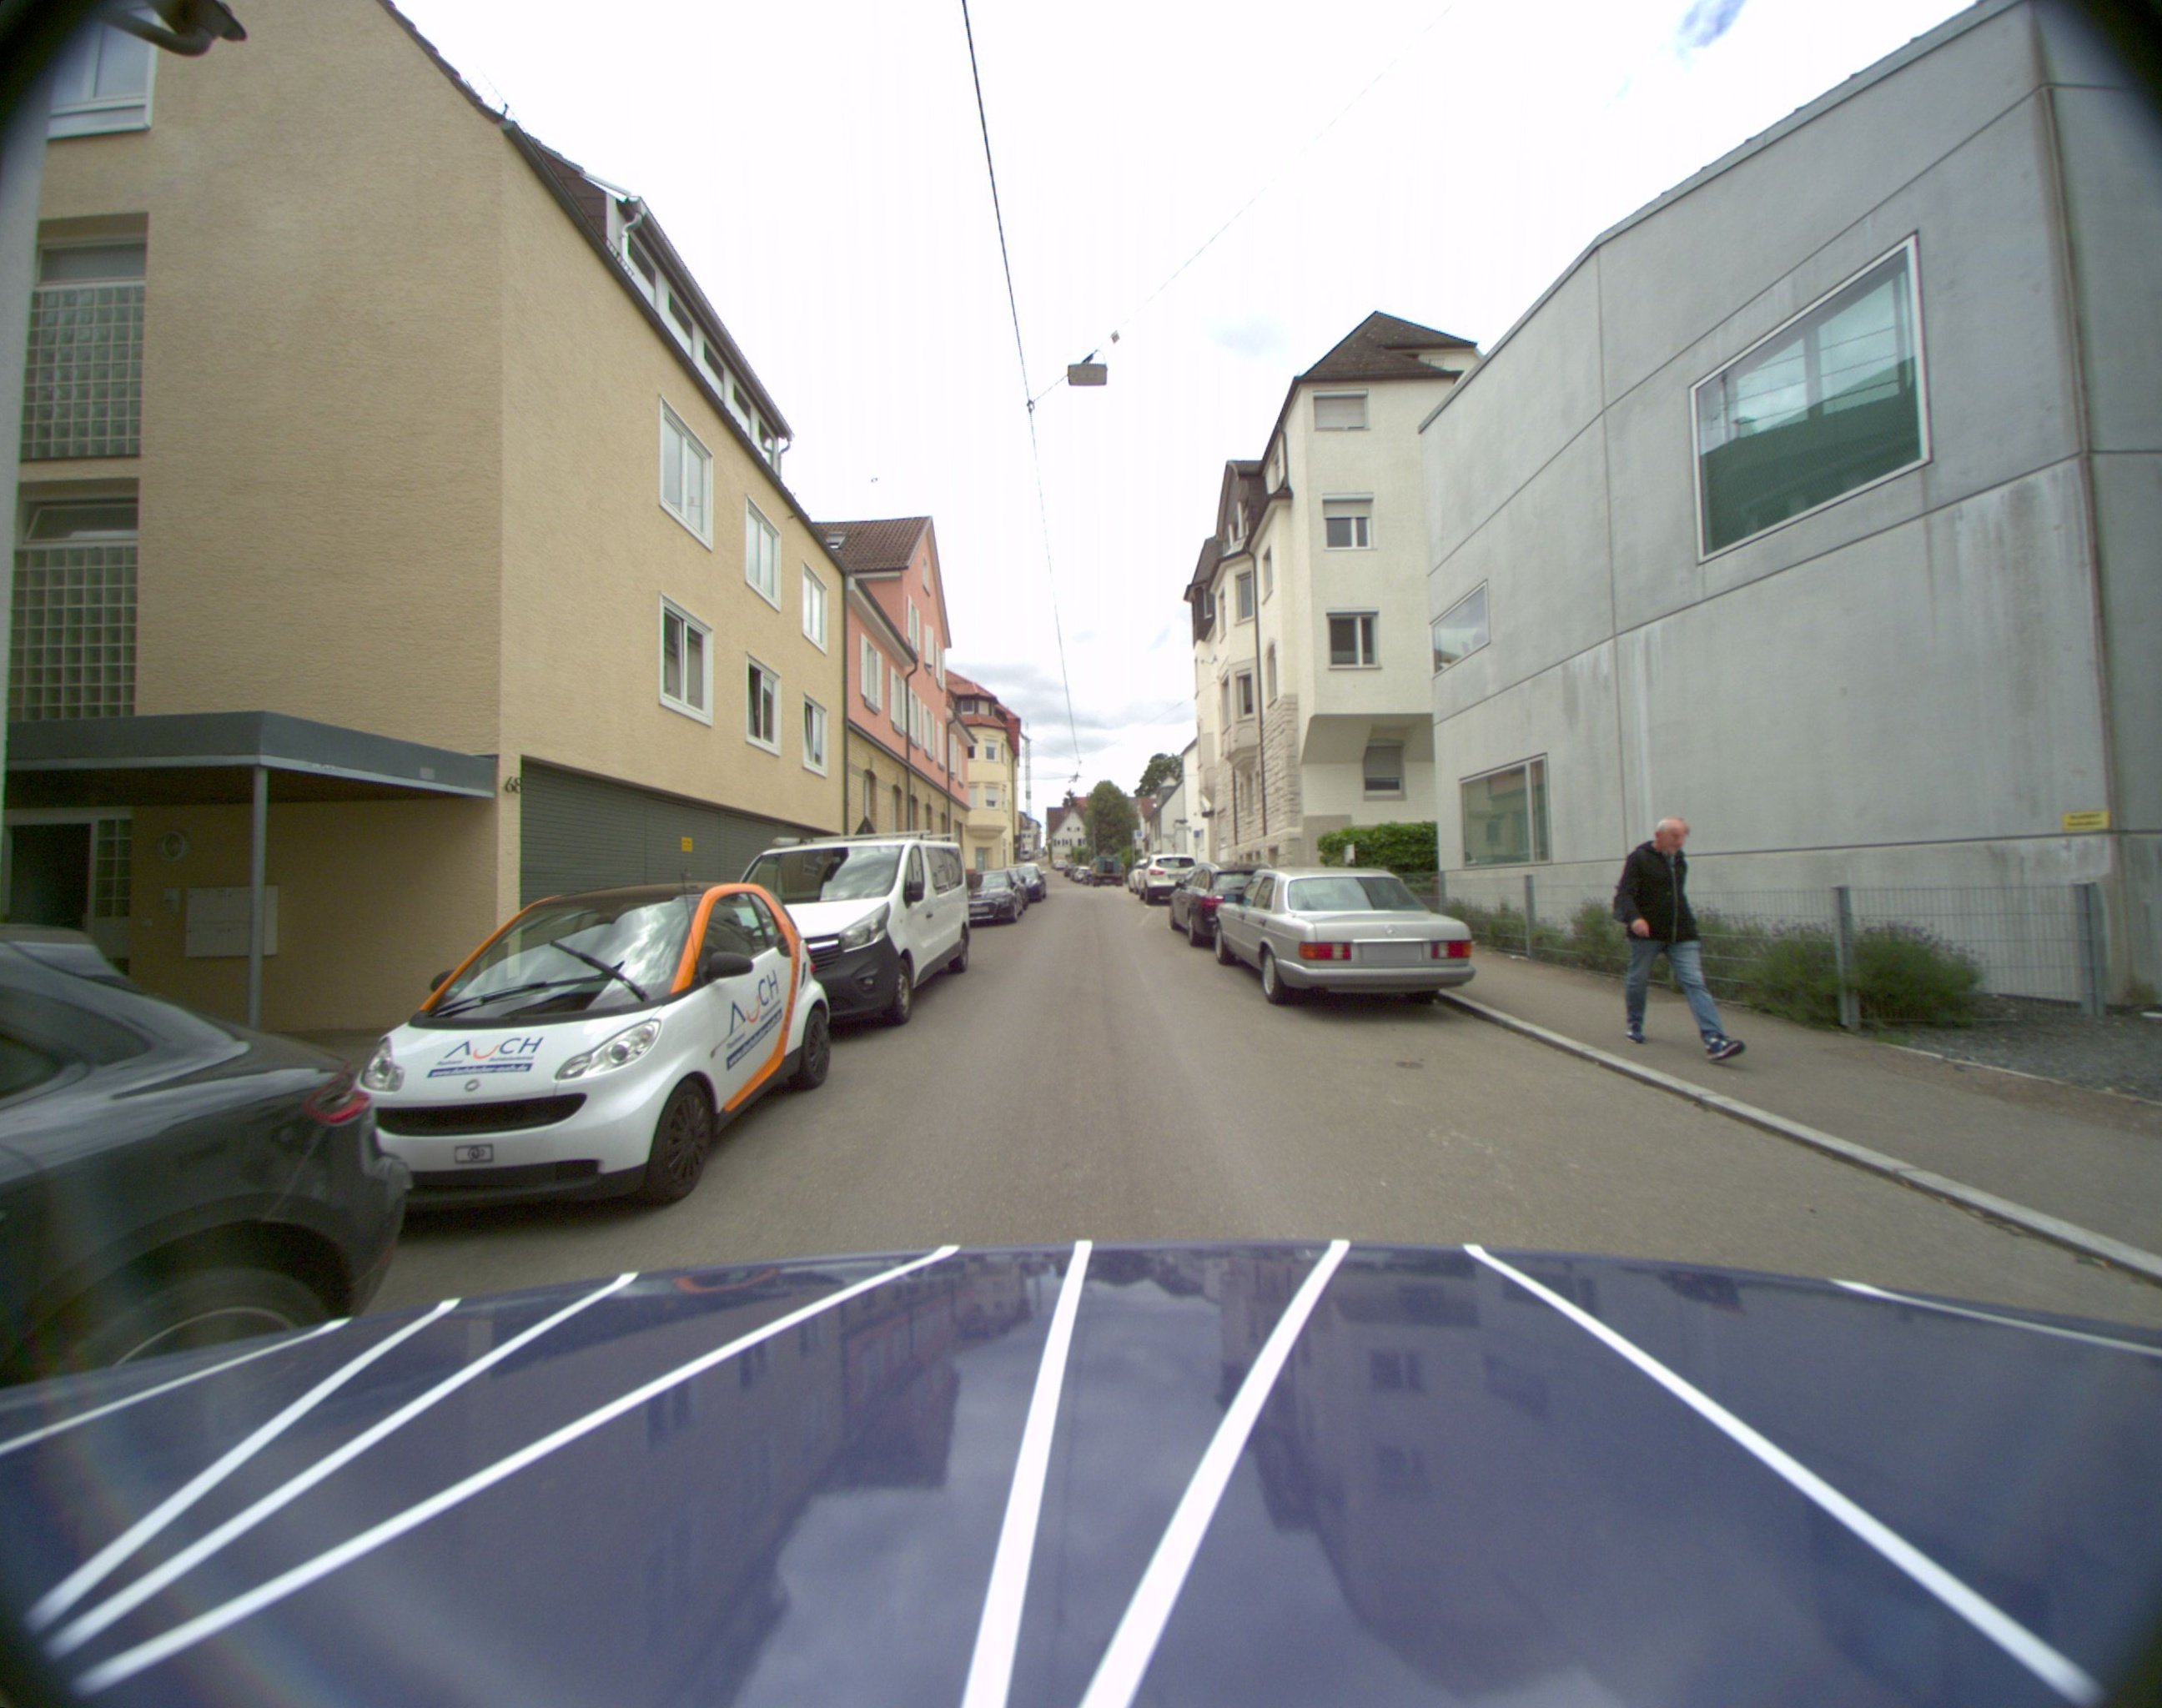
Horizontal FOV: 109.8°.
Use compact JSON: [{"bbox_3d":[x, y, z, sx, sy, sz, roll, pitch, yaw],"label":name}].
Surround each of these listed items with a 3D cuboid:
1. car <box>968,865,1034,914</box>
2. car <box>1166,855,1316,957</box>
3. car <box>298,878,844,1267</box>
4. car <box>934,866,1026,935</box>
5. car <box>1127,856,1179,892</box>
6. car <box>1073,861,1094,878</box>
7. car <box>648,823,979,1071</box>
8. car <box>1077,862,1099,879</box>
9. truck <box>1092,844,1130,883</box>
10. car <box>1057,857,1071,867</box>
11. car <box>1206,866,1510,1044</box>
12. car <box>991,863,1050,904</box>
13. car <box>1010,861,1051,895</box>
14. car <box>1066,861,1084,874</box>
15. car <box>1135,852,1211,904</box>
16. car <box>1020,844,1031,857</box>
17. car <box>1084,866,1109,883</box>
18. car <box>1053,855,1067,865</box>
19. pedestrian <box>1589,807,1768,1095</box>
[{"bbox_3d":[-2.574,1.112,25.240,1.857,1.395,3.966,-3,0,-3],"label":"car"},{"bbox_3d":[2.778,0.823,14.256,1.900,1.518,4.470,-1,1,1],"label":"car"},{"bbox_3d":[-2.697,1.011,4.771,1.490,1.587,2.791,-3,0,-1],"label":"car"},{"bbox_3d":[-2.610,1.160,20.679,1.857,1.395,4.574,-5,1,-1],"label":"car"},{"bbox_3d":[2.981,0.799,32.187,1.703,1.405,4.240,-1,0,-1],"label":"car"},{"bbox_3d":[0.257,1.636,81.096,1.856,1.641,3.944,0,0,-6],"label":"car"},{"bbox_3d":[-2.655,0.811,9.316,1.910,2.018,5.733,-3,0,0],"label":"car"},{"bbox_3d":[0.677,1.700,76.441,1.855,1.640,3.945,0,-1,-4],"label":"car"},{"bbox_3d":[2.028,0.737,53.340,2.316,2.536,6.290,0,-2,-1],"label":"truck"},{"bbox_3d":[-2.549,1.167,112.834,1.856,1.441,3.944,0,0,-6],"label":"car"},{"bbox_3d":[2.827,0.923,9.152,1.849,1.405,5.061,-1,0,1],"label":"car"},{"bbox_3d":[-2.314,1.125,30.139,1.857,1.395,4.292,-3,0,1],"label":"car"},{"bbox_3d":[-2.349,1.100,36.027,1.672,1.470,3.626,-1,0,0],"label":"car"},{"bbox_3d":[-0.731,1.667,94.389,1.856,1.641,3.944,0,0,-6],"label":"car"},{"bbox_3d":[2.926,0.734,24.951,1.850,1.506,4.240,-1,0,-1],"label":"car"},{"bbox_3d":[-11.501,-0.690,157.654,2.194,2.630,5.823,0,0,-6],"label":"car"},{"bbox_3d":[1.373,1.795,67.314,1.855,1.454,3.945,0,-1,-4],"label":"car"},{"bbox_3d":[-3.345,0.958,119.546,1.856,1.441,3.942,0,1,-6],"label":"car"},{"bbox_3d":[4.250,0.637,5.484,0.817,1.873,0.848,-1,0,23],"label":"pedestrian"}]
